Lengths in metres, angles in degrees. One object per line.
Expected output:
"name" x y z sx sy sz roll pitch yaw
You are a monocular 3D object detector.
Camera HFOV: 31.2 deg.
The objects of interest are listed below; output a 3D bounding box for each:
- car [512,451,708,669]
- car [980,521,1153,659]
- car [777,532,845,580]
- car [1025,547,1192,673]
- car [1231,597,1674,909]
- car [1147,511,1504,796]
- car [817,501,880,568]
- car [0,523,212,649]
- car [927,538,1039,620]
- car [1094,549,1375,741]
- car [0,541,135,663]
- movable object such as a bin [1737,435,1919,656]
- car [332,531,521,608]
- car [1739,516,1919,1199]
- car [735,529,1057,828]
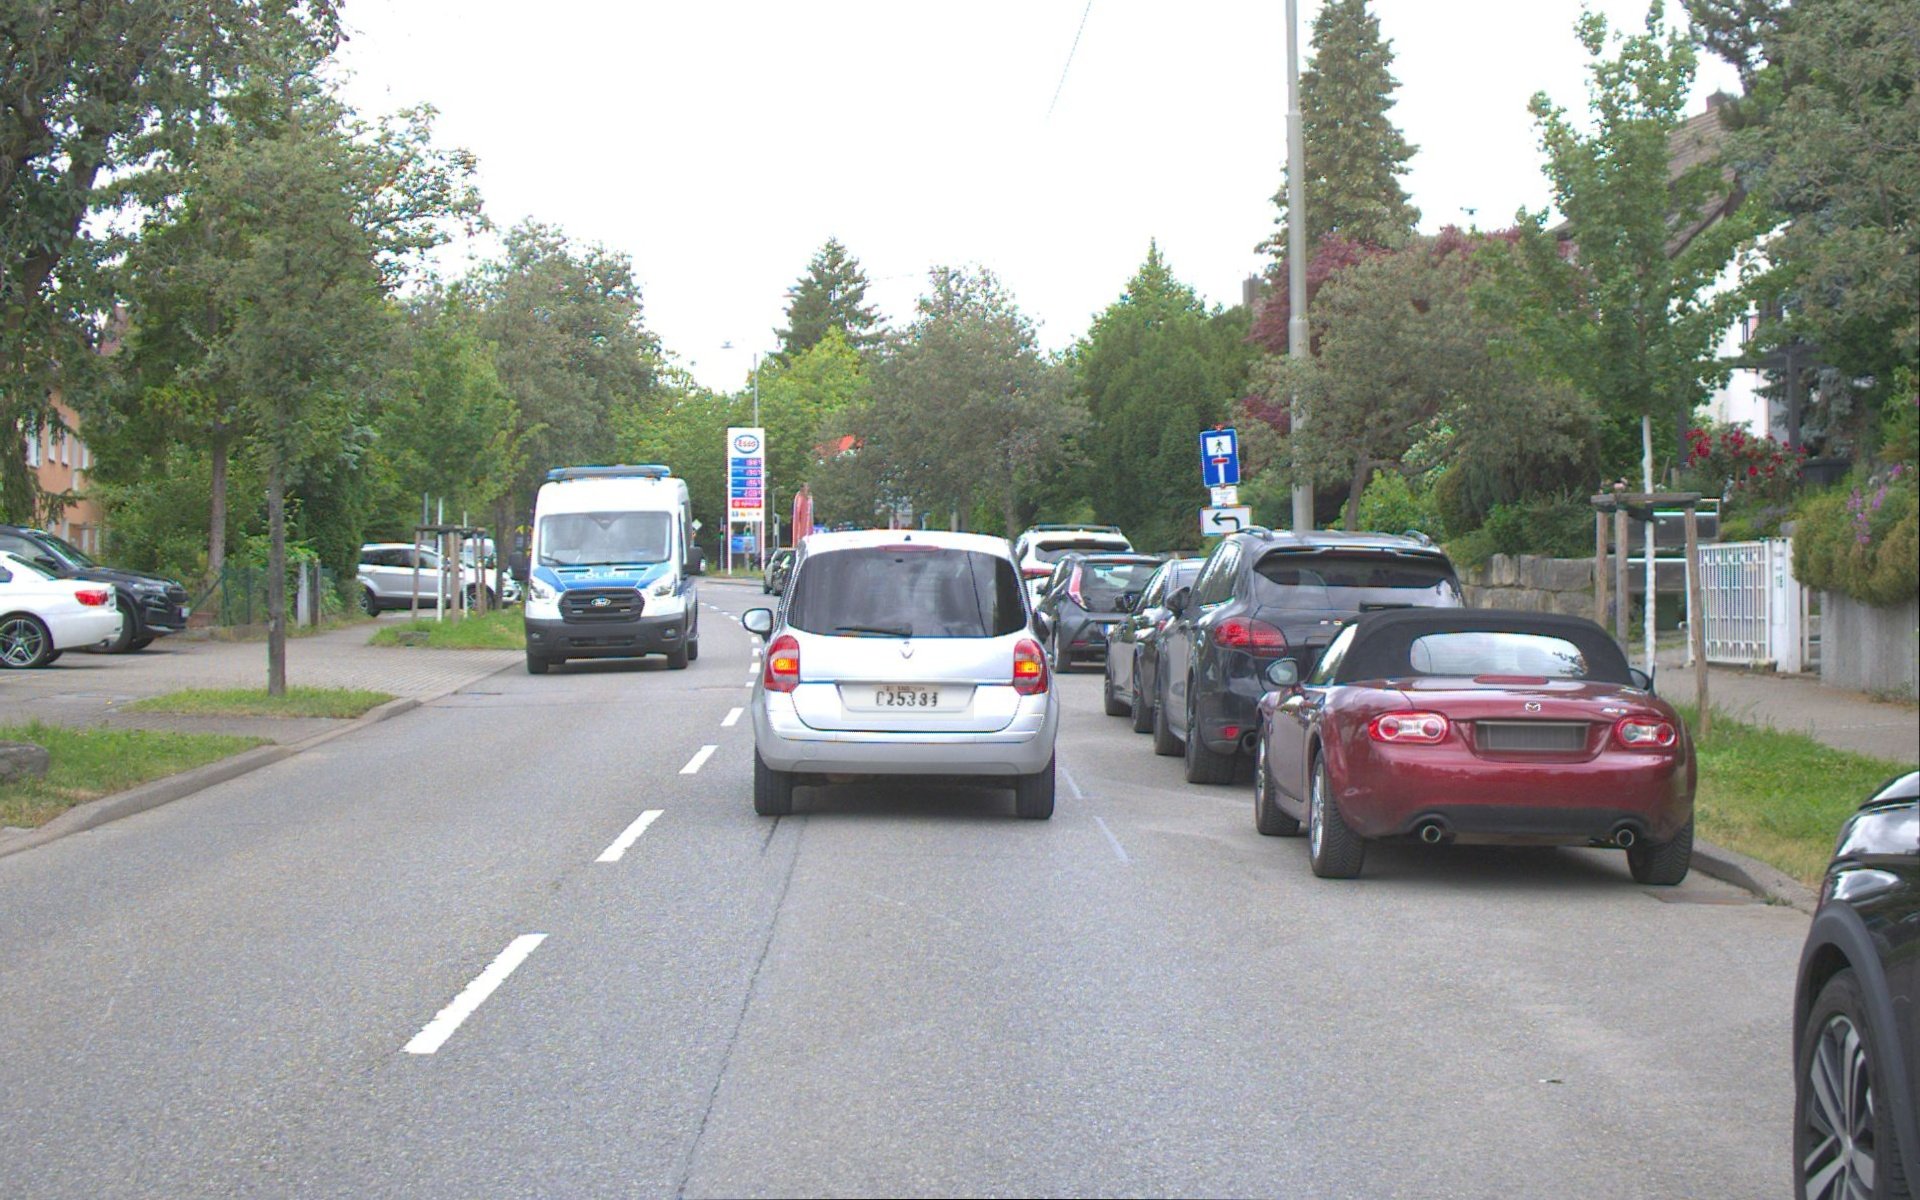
"car" -4.449 -0.537 44.481 2.073 2.573 5.301 -2 1 -2
"car" 1.413 -0.167 47.333 1.799 1.772 4.706 1 1 -5
"car" -4.724 -1.406 108.561 1.695 1.501 3.974 0 1 -9
"car" 1.780 0.094 42.074 1.558 1.438 3.507 1 1 -5
"car" 2.288 0.663 16.831 1.481 1.232 3.884 2 1 -1
"car" 2.346 0.285 23.187 1.830 1.706 4.549 1 1 -1
"car" -5.014 -2.933 154.038 2.281 2.901 5.280 1 1 -7
"car" -12.418 -0.208 46.060 4.333 1.612 1.973 1 0 0
"car" 0.388 -0.399 62.738 1.626 1.447 3.877 0 1 -6
"car" 2.244 0.317 29.262 1.830 1.452 4.551 1 1 -2
"car" -11.985 -0.031 40.342 4.277 1.363 1.817 2 0 -8
"movable object such as a bin" 8.691 -0.499 32.407 2.310 2.007 1.344 1 1 -6
"car" -12.067 -0.697 77.903 4.086 1.700 1.748 0 1 -3
"car" 2.537 0.687 5.213 1.688 1.603 4.109 1 1 -1
"car" -0.338 0.378 19.840 1.679 1.554 3.512 1 1 0
